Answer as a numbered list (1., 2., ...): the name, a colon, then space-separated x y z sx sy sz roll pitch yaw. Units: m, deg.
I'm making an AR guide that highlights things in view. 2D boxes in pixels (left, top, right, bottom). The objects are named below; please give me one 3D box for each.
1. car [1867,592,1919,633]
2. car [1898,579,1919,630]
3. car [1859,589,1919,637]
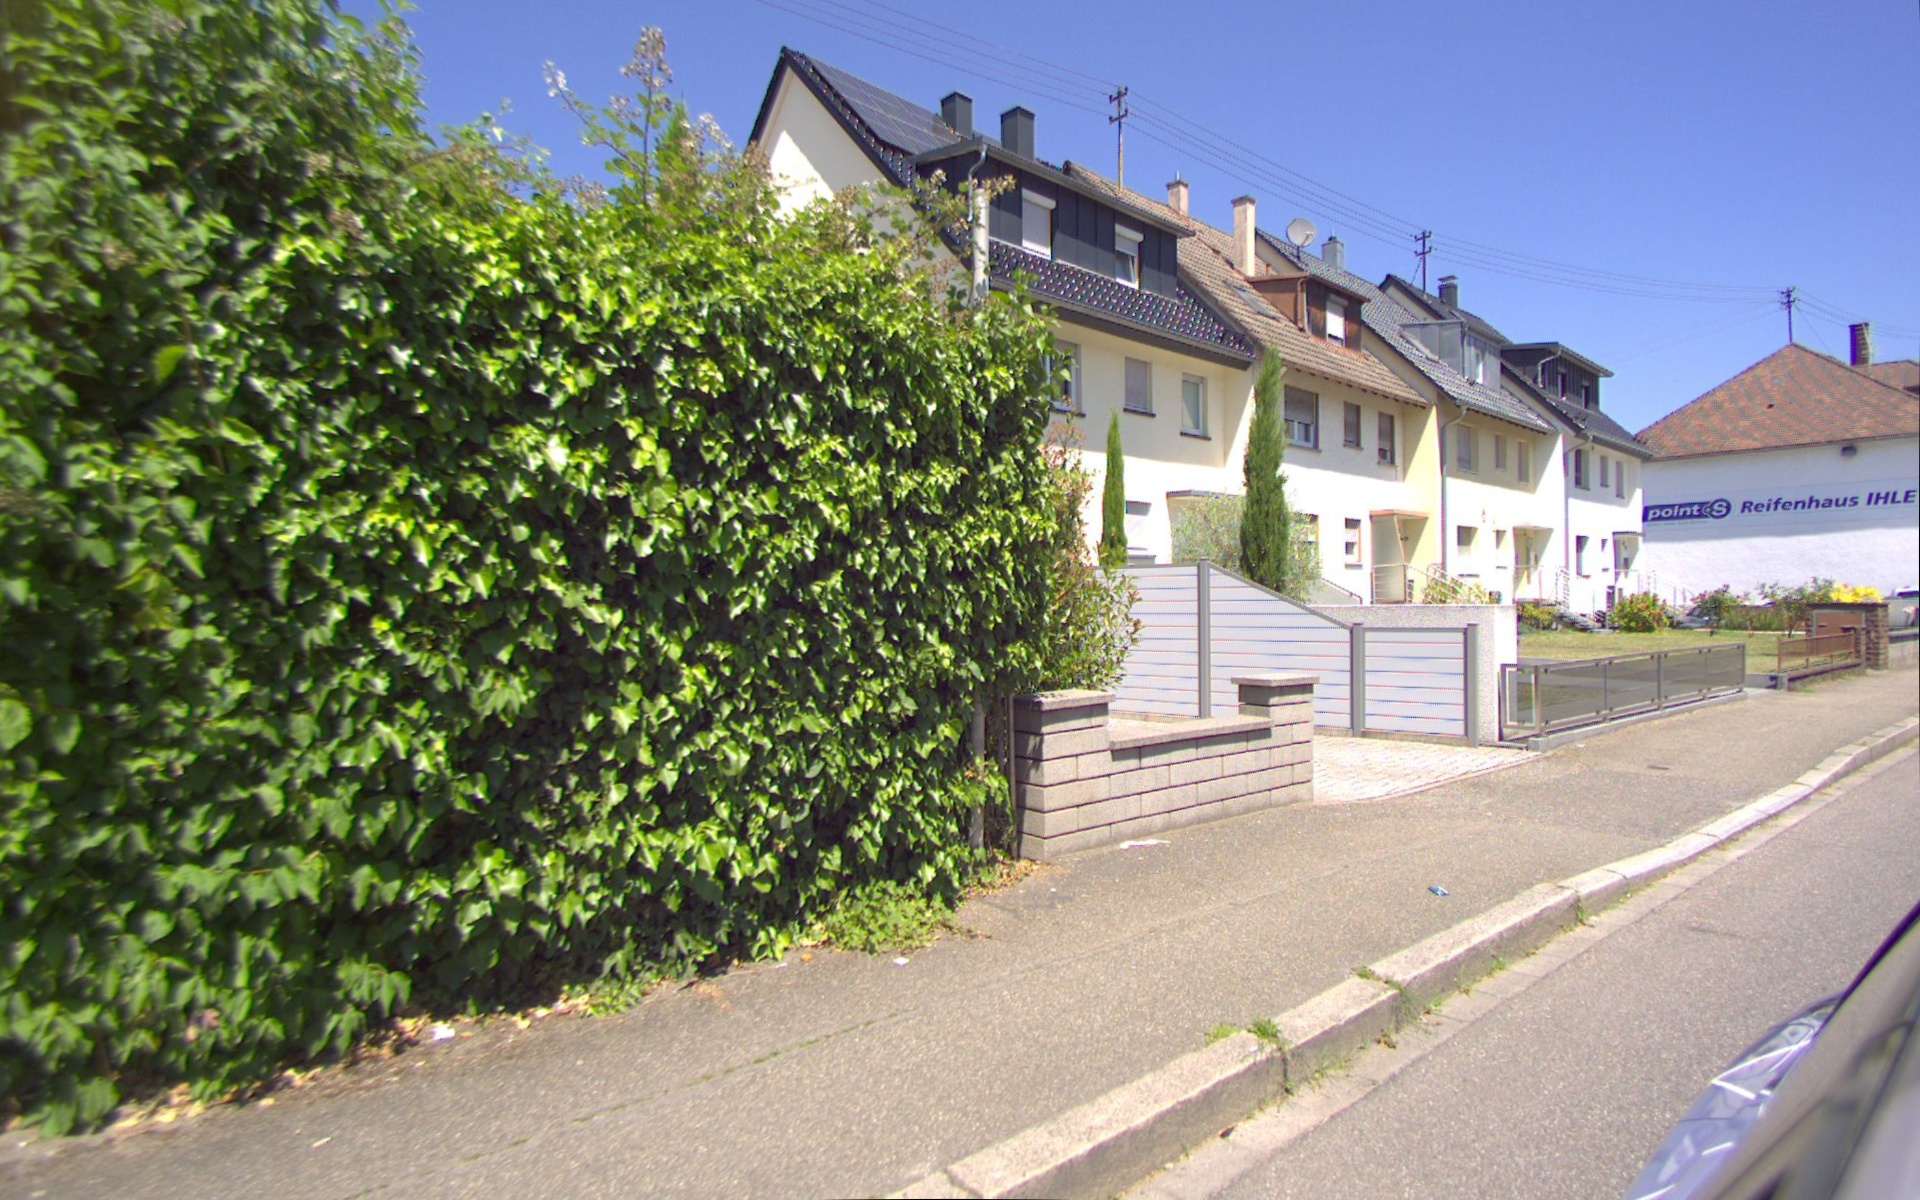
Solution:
1. car: 35.249 0.392 35.598 1.735 1.427 4.653 0 -3 -35
2. car: 37.332 0.086 37.008 1.710 1.855 4.292 1 -3 -44
3. car: 32.956 0.407 33.783 1.722 1.568 4.306 -2 -1 -4
